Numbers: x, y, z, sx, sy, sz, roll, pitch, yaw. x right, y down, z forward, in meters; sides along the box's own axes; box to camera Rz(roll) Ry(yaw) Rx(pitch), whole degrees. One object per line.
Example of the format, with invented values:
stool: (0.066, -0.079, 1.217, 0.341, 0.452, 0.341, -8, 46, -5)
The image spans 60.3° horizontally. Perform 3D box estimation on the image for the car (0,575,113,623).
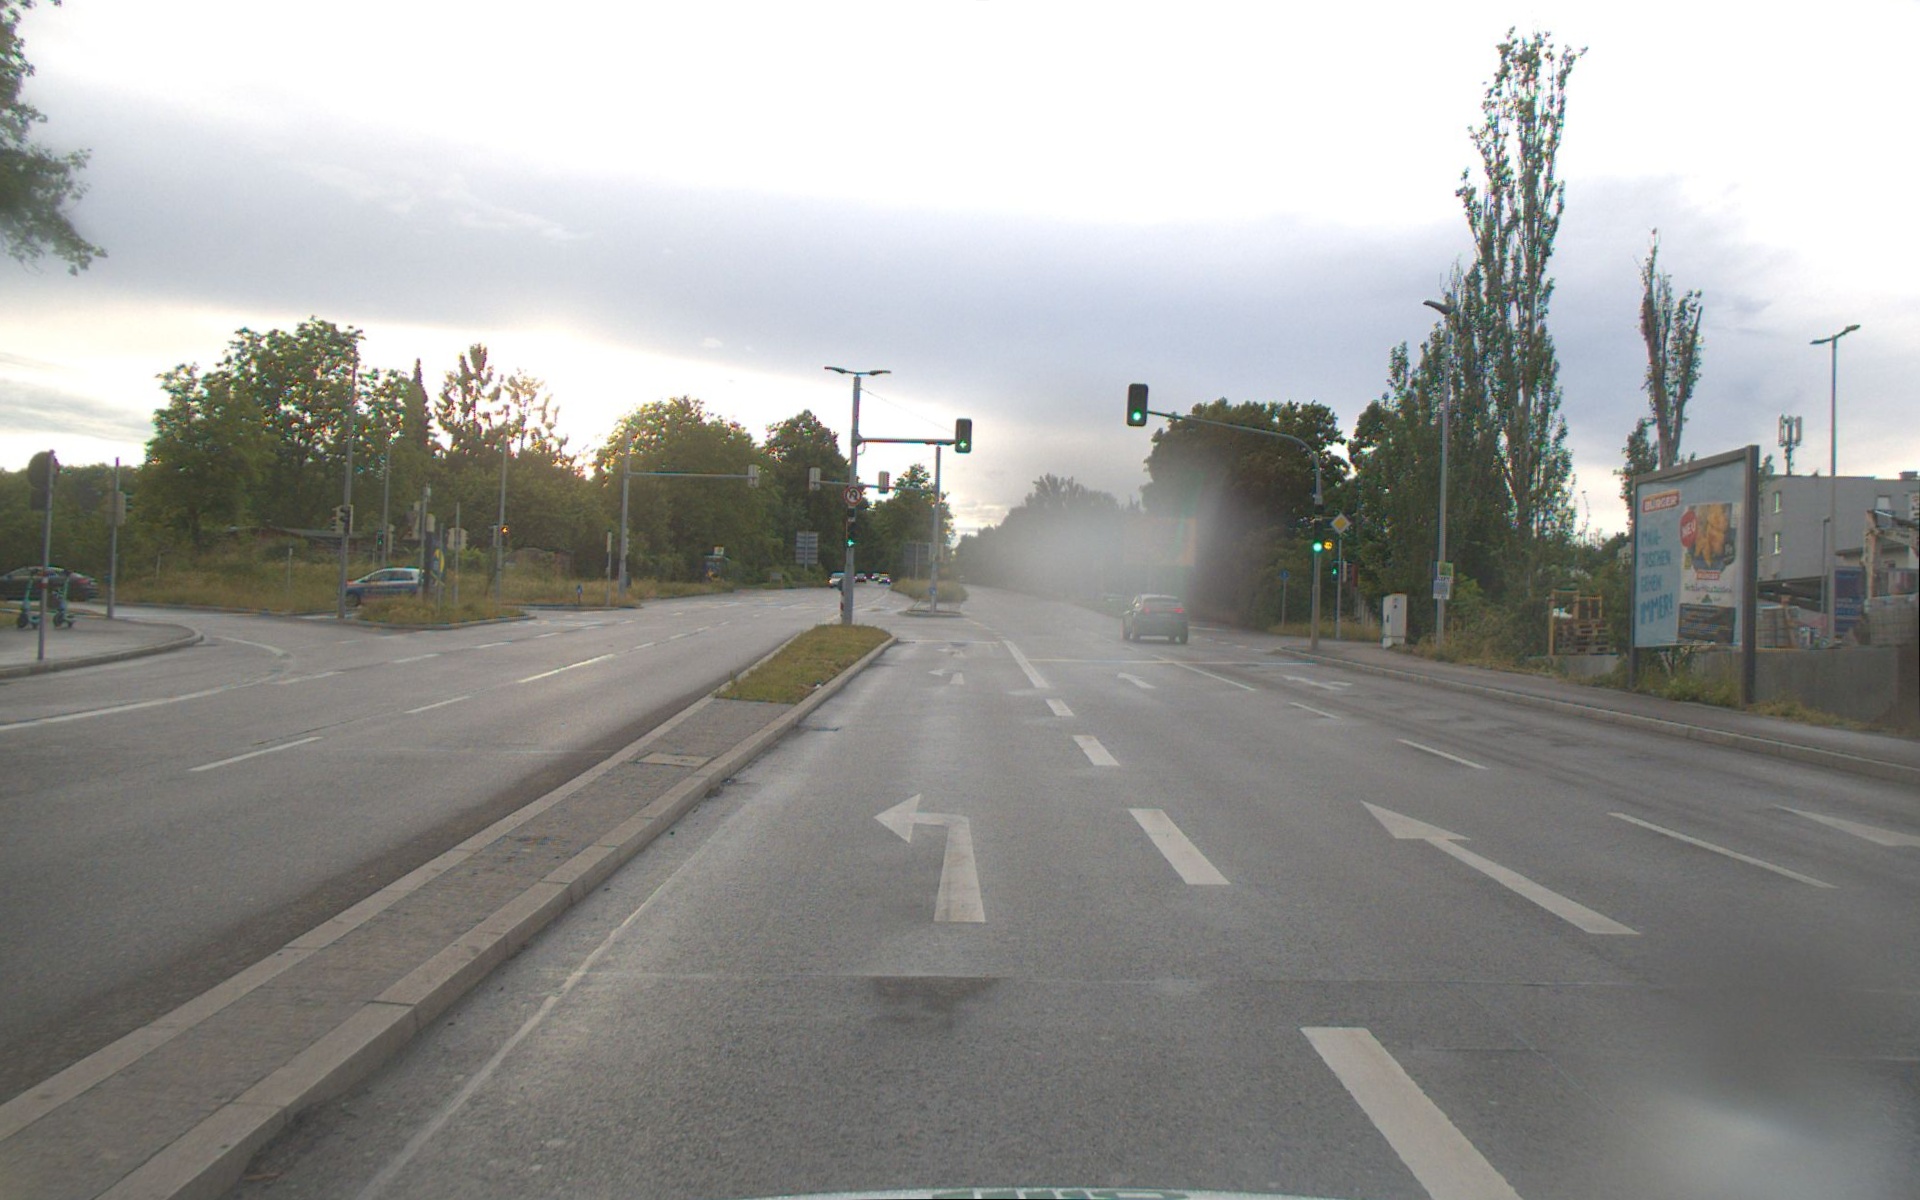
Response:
car: (-35.572, -0.073, 63.799, 4.559, 1.610, 2.170, 4, -2, -6)

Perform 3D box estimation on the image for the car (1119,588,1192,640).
car: (6.144, 0.417, 52.369, 1.709, 1.495, 4.165, 2, 0, -1)

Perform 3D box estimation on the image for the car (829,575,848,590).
car: (-13.272, -1.905, 180.719, 1.733, 1.623, 4.488, 2, 0, -1)

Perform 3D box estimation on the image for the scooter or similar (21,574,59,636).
scooter or similar: (-19.003, 0.097, 34.176, 0.306, 1.239, 1.303, 2, 0, -14)

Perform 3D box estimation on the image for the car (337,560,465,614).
car: (-21.712, -0.483, 64.344, 4.097, 1.748, 2.084, 4, -2, 3)

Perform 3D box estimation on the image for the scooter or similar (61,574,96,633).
scooter or similar: (-19.107, 0.070, 35.868, 0.306, 1.239, 1.303, 2, 0, -14)

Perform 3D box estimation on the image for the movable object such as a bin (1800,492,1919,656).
movable object such as a bin: (20.475, -0.496, 34.784, 2.258, 3.333, 5.415, 2, 0, -8)

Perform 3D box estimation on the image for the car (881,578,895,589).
car: (-10.652, -2.444, 243.985, 1.855, 1.561, 4.488, 2, 0, -1)
